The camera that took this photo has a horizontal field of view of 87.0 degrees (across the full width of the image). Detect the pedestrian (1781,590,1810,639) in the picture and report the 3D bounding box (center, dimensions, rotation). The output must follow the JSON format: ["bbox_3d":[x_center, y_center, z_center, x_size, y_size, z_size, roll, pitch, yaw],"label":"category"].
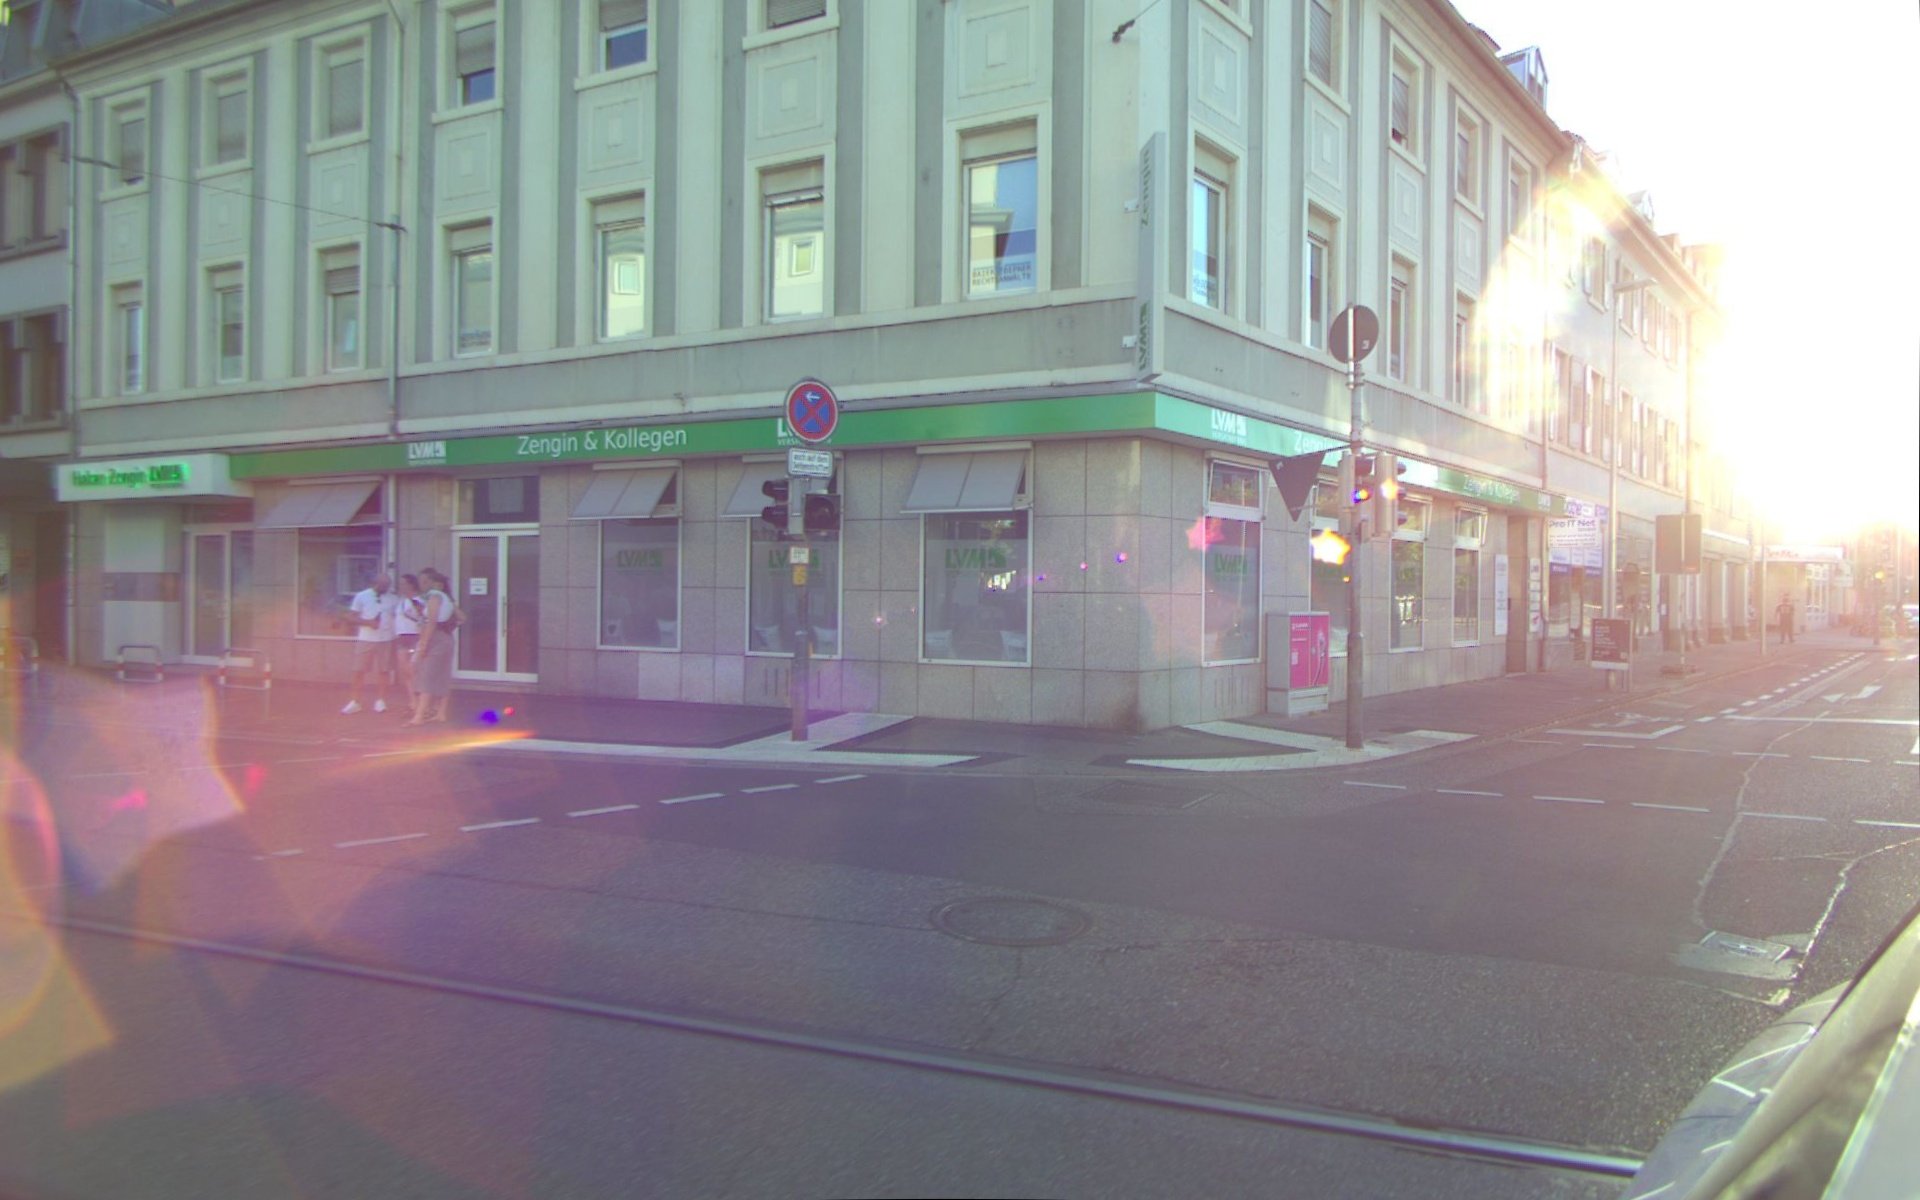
[{"bbox_3d":[31.660,0.538,38.340,0.667,1.806,0.714,2,2,30],"label":"pedestrian"}]

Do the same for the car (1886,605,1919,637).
[{"bbox_3d":[50.599,1.069,53.698,1.993,1.567,4.438,-1,0,44],"label":"car"}]

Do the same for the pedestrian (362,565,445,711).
[{"bbox_3d":[-7.032,0.472,12.802,0.671,1.794,0.629,-1,-1,6],"label":"pedestrian"}]

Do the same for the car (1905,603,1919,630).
[{"bbox_3d":[59.139,0.973,61.651,4.434,1.567,1.995,-1,0,-44],"label":"car"}]

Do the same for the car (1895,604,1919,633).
[{"bbox_3d":[55.116,1.032,58.100,1.993,1.567,4.438,-1,0,44],"label":"car"}]

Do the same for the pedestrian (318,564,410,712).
[{"bbox_3d":[-7.492,0.466,12.750,0.675,1.794,0.764,-1,-1,6],"label":"pedestrian"}]

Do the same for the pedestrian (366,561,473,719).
[{"bbox_3d":[-6.597,0.464,12.363,0.774,1.835,0.896,-1,-1,34],"label":"pedestrian"}]

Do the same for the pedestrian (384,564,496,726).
[{"bbox_3d":[-6.048,0.500,11.783,0.774,1.794,0.896,-1,-1,34],"label":"pedestrian"}]

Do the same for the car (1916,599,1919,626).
[{"bbox_3d":[63.428,0.800,65.479,4.434,1.668,1.995,-1,0,-43],"label":"car"}]

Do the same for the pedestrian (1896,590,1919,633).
[{"bbox_3d":[39.772,0.467,42.348,0.689,1.768,0.840,0,-1,-45],"label":"pedestrian"}]

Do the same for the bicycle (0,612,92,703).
[{"bbox_3d":[-13.067,0.782,14.224,1.855,1.199,0.690,-1,0,28],"label":"bicycle"}]
